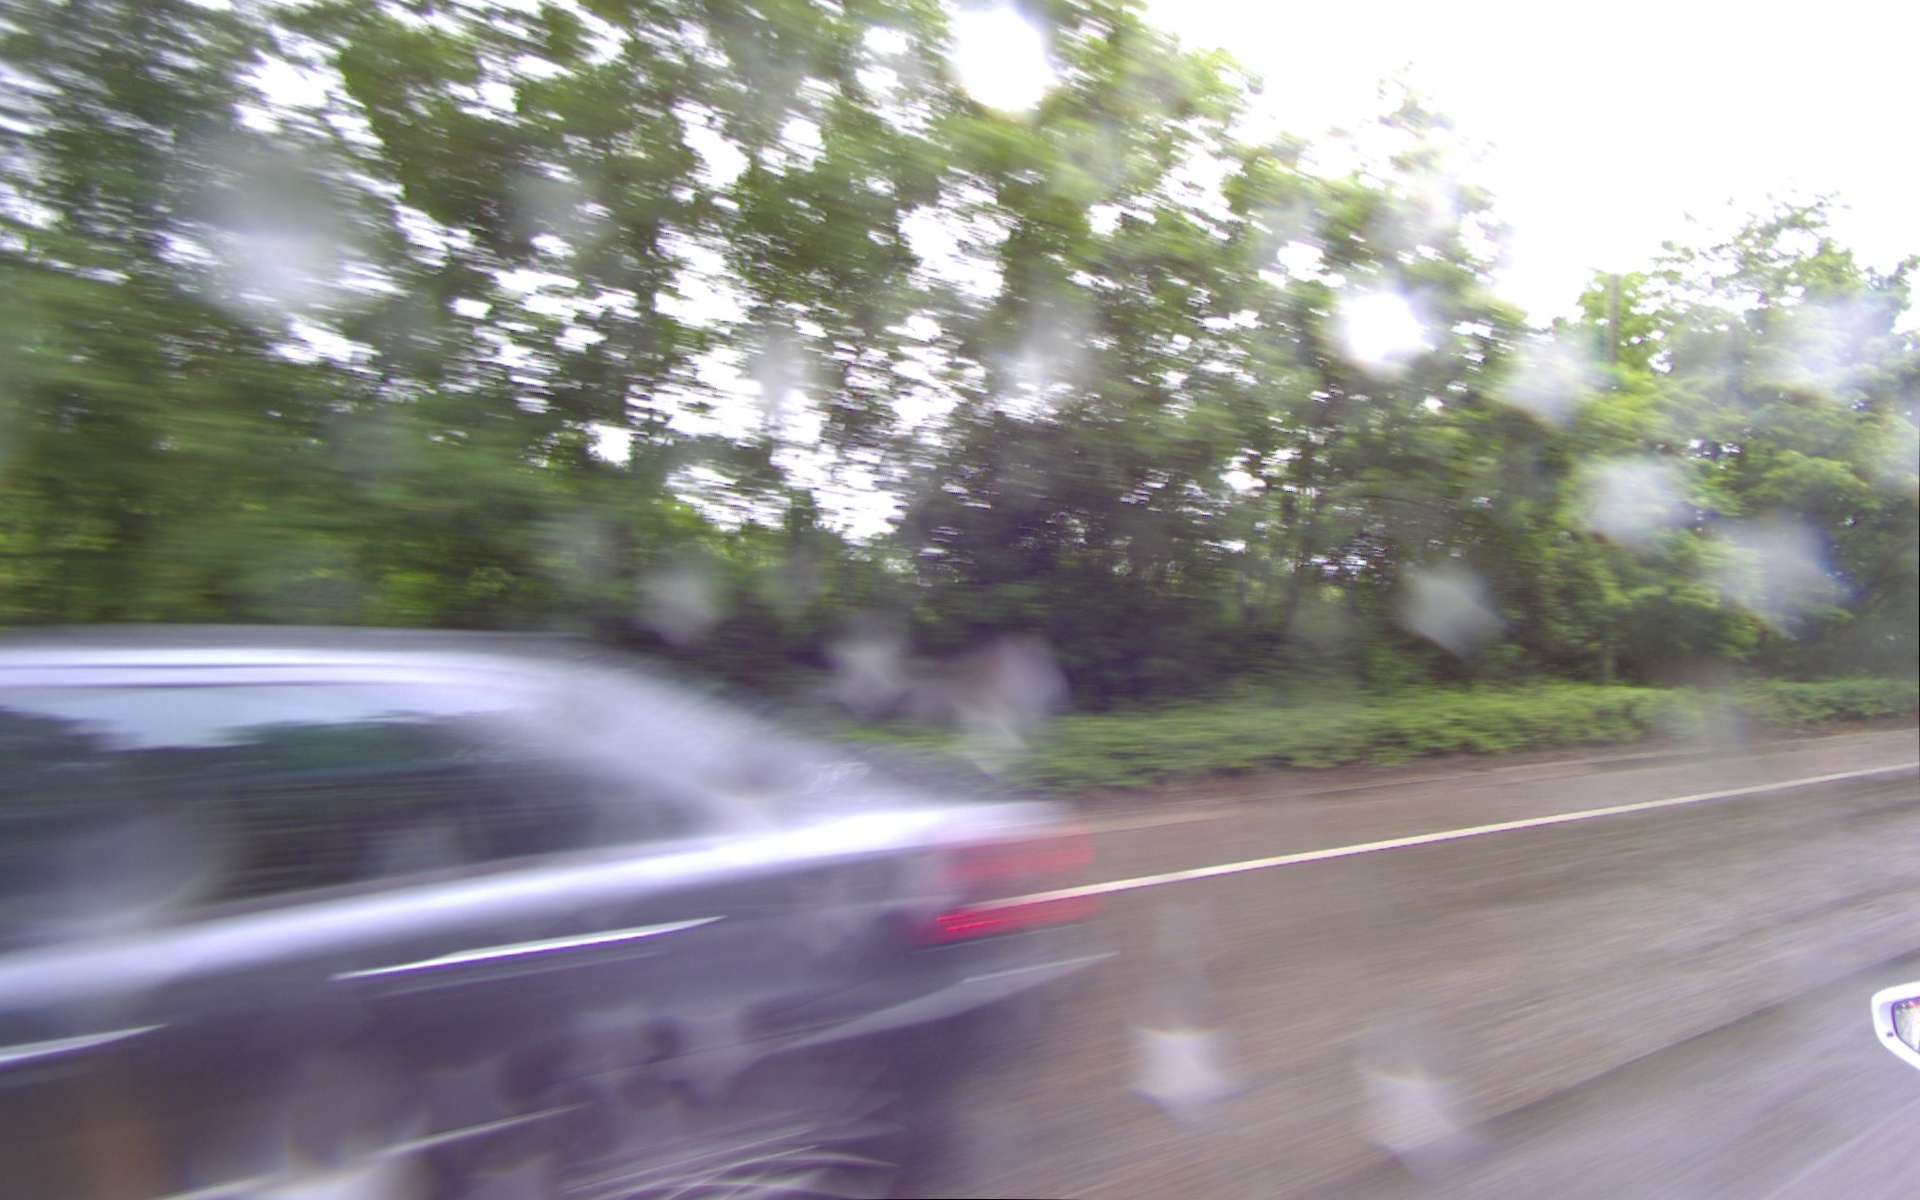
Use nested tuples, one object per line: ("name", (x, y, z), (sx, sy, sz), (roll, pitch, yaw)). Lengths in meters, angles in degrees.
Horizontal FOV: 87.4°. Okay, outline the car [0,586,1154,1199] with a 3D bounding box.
("car", (-1.797, 0.677, 2.372), (4.203, 1.382, 1.983), (1, -1, -31))
